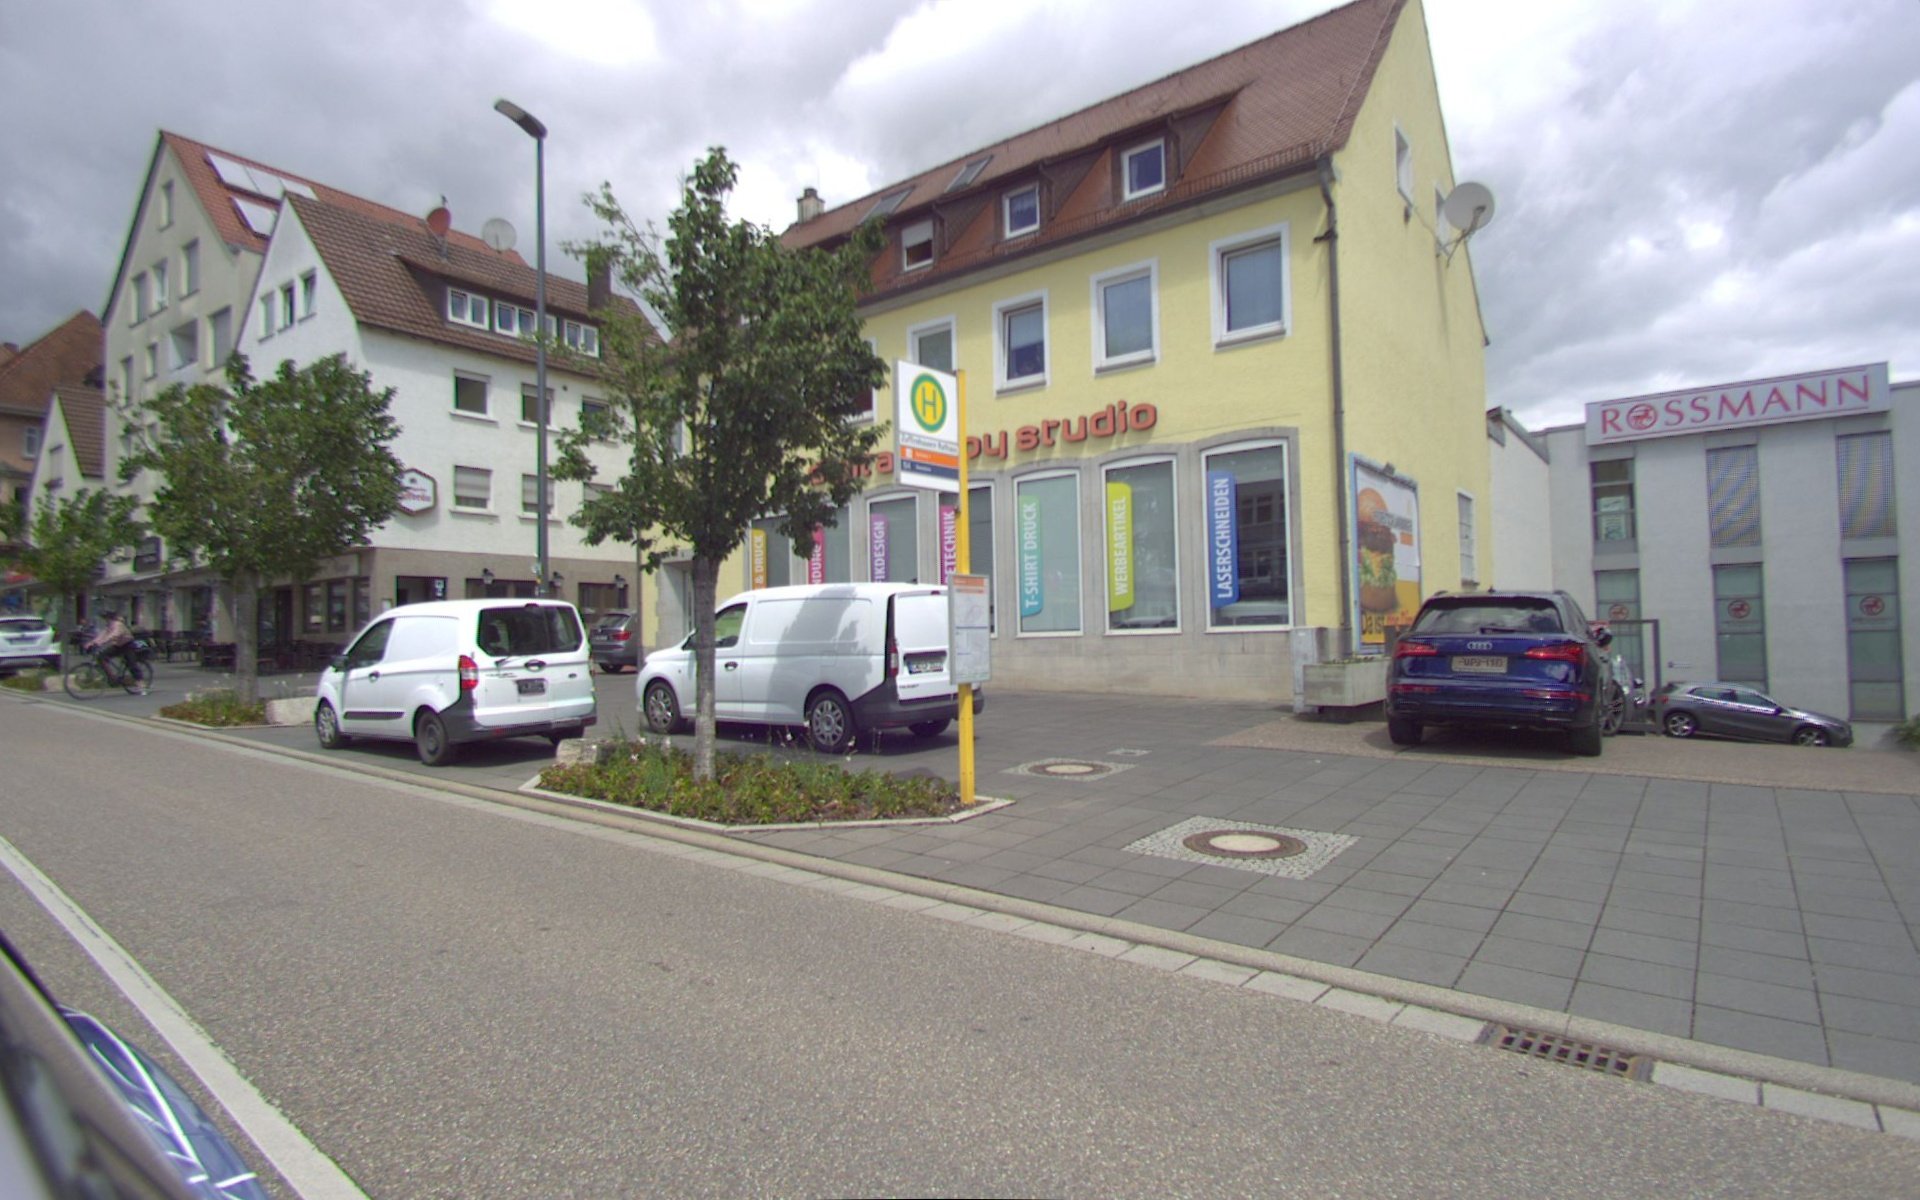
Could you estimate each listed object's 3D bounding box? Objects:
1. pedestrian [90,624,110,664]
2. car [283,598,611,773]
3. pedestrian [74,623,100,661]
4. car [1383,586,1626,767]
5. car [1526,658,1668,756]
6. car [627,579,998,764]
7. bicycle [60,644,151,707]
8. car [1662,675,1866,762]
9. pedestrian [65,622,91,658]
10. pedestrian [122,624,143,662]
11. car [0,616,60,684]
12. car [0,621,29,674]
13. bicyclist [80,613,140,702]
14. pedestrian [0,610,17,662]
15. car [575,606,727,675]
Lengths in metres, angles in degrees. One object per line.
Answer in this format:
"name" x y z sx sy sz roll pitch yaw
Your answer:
"pedestrian" -28.588 1.446 33.639 0.453 1.309 0.417 -1 -1 35
"car" -6.067 0.860 11.760 4.343 1.684 1.641 -1 -1 37
"pedestrian" -29.711 1.424 34.438 0.597 1.277 0.545 0 0 35
"car" 5.877 0.680 10.726 1.666 1.570 3.592 -1 -1 38
"car" 11.148 1.756 17.593 1.647 1.420 3.948 -1 -3 38
"car" -1.880 0.729 12.048 4.470 1.827 1.740 -1 0 38
"bicycle" -16.773 1.460 19.907 0.407 1.096 1.654 1 0 -1
"car" 20.569 2.980 26.117 3.898 1.585 1.653 5 2 34
"pedestrian" -31.924 1.438 36.634 0.597 1.256 0.590 0 0 35
"pedestrian" -28.086 1.460 34.361 0.565 1.259 0.423 -1 -1 35
"car" -25.283 1.269 26.628 4.127 1.659 1.650 -1 0 37
"car" -29.593 1.373 30.028 4.501 1.462 1.825 0 0 33
"bicyclist" -16.772 1.109 19.978 0.503 1.708 0.778 1 0 1
"pedestrian" -33.088 1.235 34.879 0.775 1.774 0.655 1 0 32
"car" -8.054 1.020 26.576 1.729 1.663 3.496 -2 -1 36
